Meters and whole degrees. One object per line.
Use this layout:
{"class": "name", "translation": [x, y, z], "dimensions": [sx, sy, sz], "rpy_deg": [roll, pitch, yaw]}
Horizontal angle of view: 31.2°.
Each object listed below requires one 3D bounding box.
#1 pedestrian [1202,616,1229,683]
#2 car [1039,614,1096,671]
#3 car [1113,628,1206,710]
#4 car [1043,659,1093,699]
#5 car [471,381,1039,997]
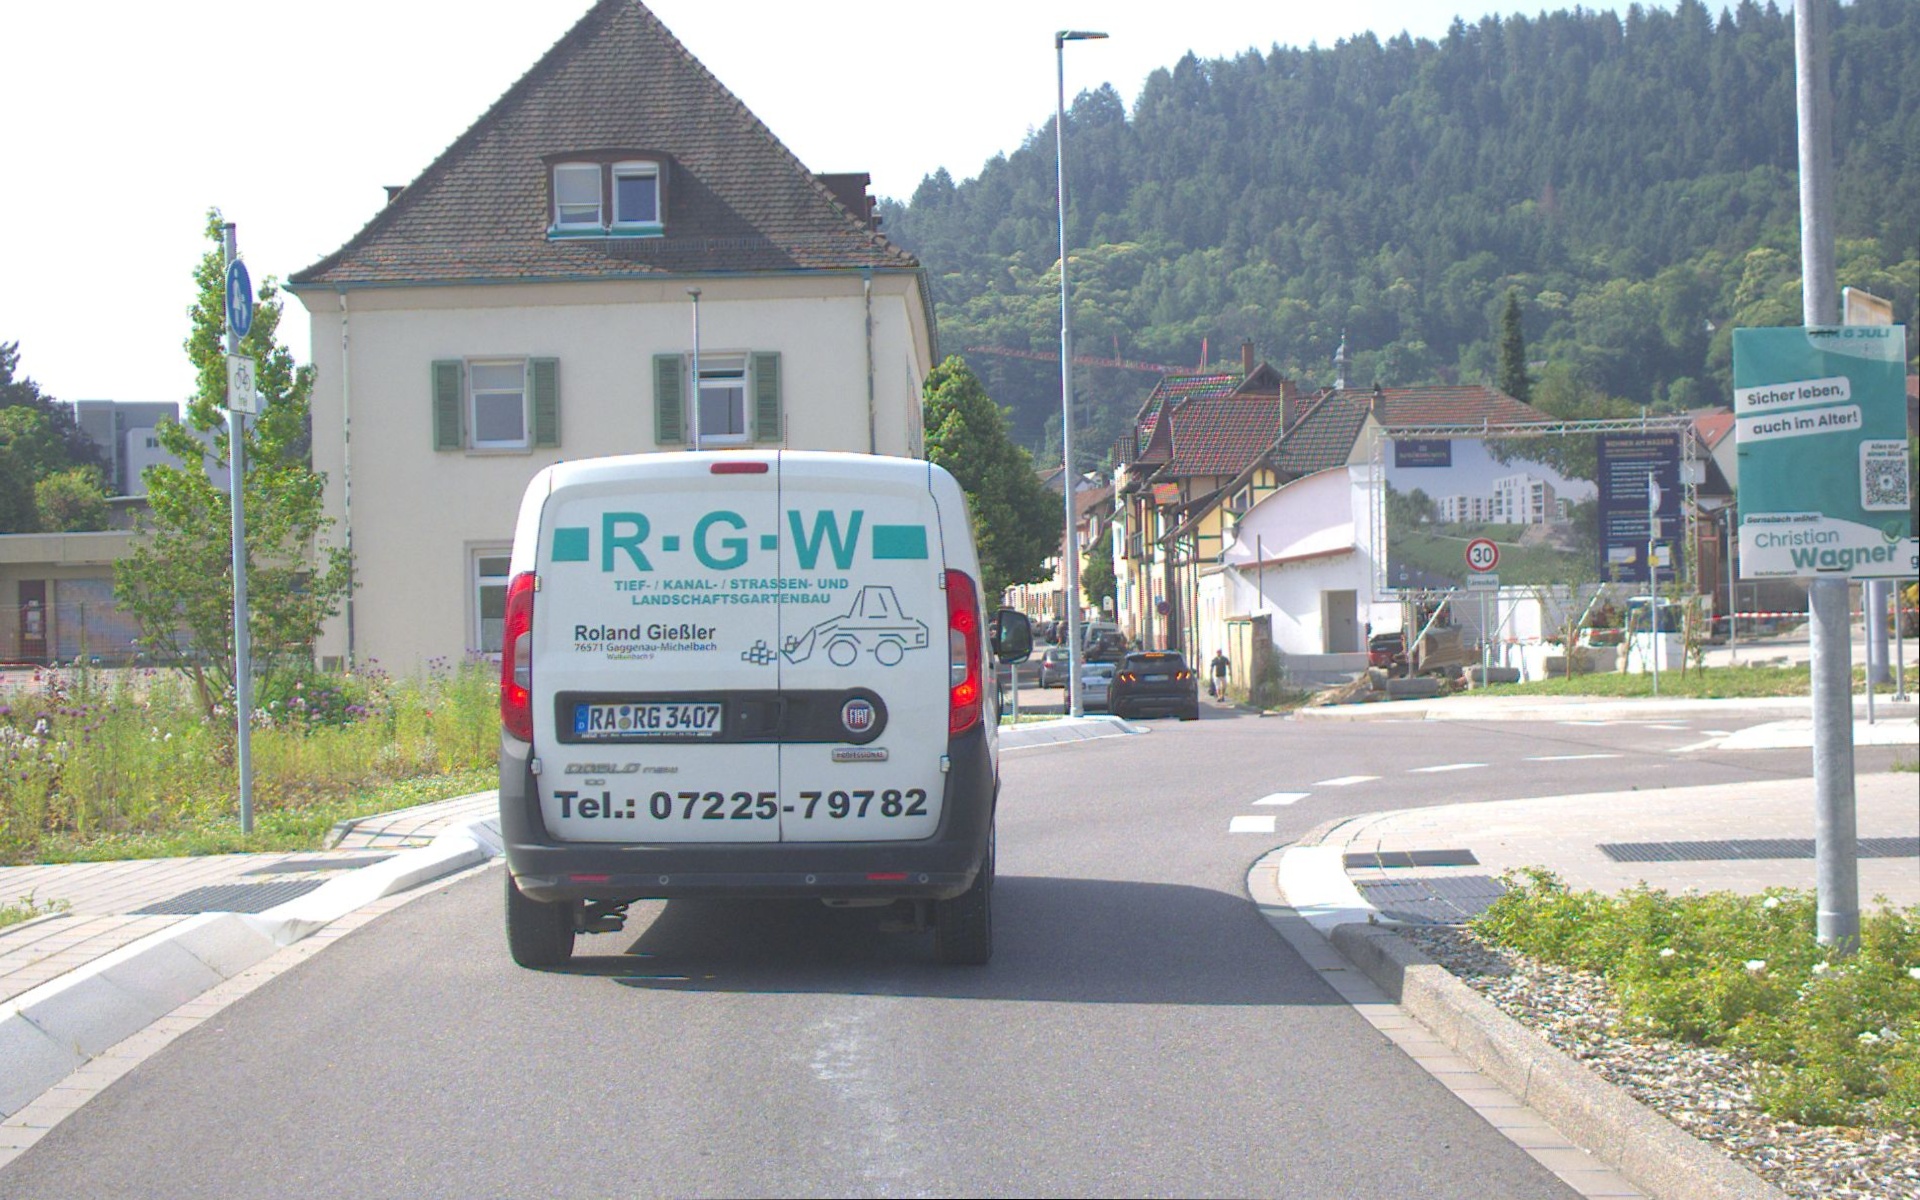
{"class": "pedestrian", "translation": [7.825, 1.517, 105.255], "dimensions": [0.691, 2.007, 0.636], "rpy_deg": [-2, -1, 0]}
{"class": "car", "translation": [4.025, 1.593, 128.148], "dimensions": [1.994, 2.007, 3.999], "rpy_deg": [-2, -1, 2]}
{"class": "car", "translation": [4.415, 1.487, 75.663], "dimensions": [1.881, 1.678, 3.999], "rpy_deg": [-3, -1, 5]}
{"class": "car", "translation": [2.994, 2.178, 95.061], "dimensions": [1.306, 1.000, 3.090], "rpy_deg": [-2, -1, 2]}
{"class": "car", "translation": [-0.642, 0.259, 13.894], "dimensions": [1.806, 2.070, 4.604], "rpy_deg": [0, 1, 3]}
